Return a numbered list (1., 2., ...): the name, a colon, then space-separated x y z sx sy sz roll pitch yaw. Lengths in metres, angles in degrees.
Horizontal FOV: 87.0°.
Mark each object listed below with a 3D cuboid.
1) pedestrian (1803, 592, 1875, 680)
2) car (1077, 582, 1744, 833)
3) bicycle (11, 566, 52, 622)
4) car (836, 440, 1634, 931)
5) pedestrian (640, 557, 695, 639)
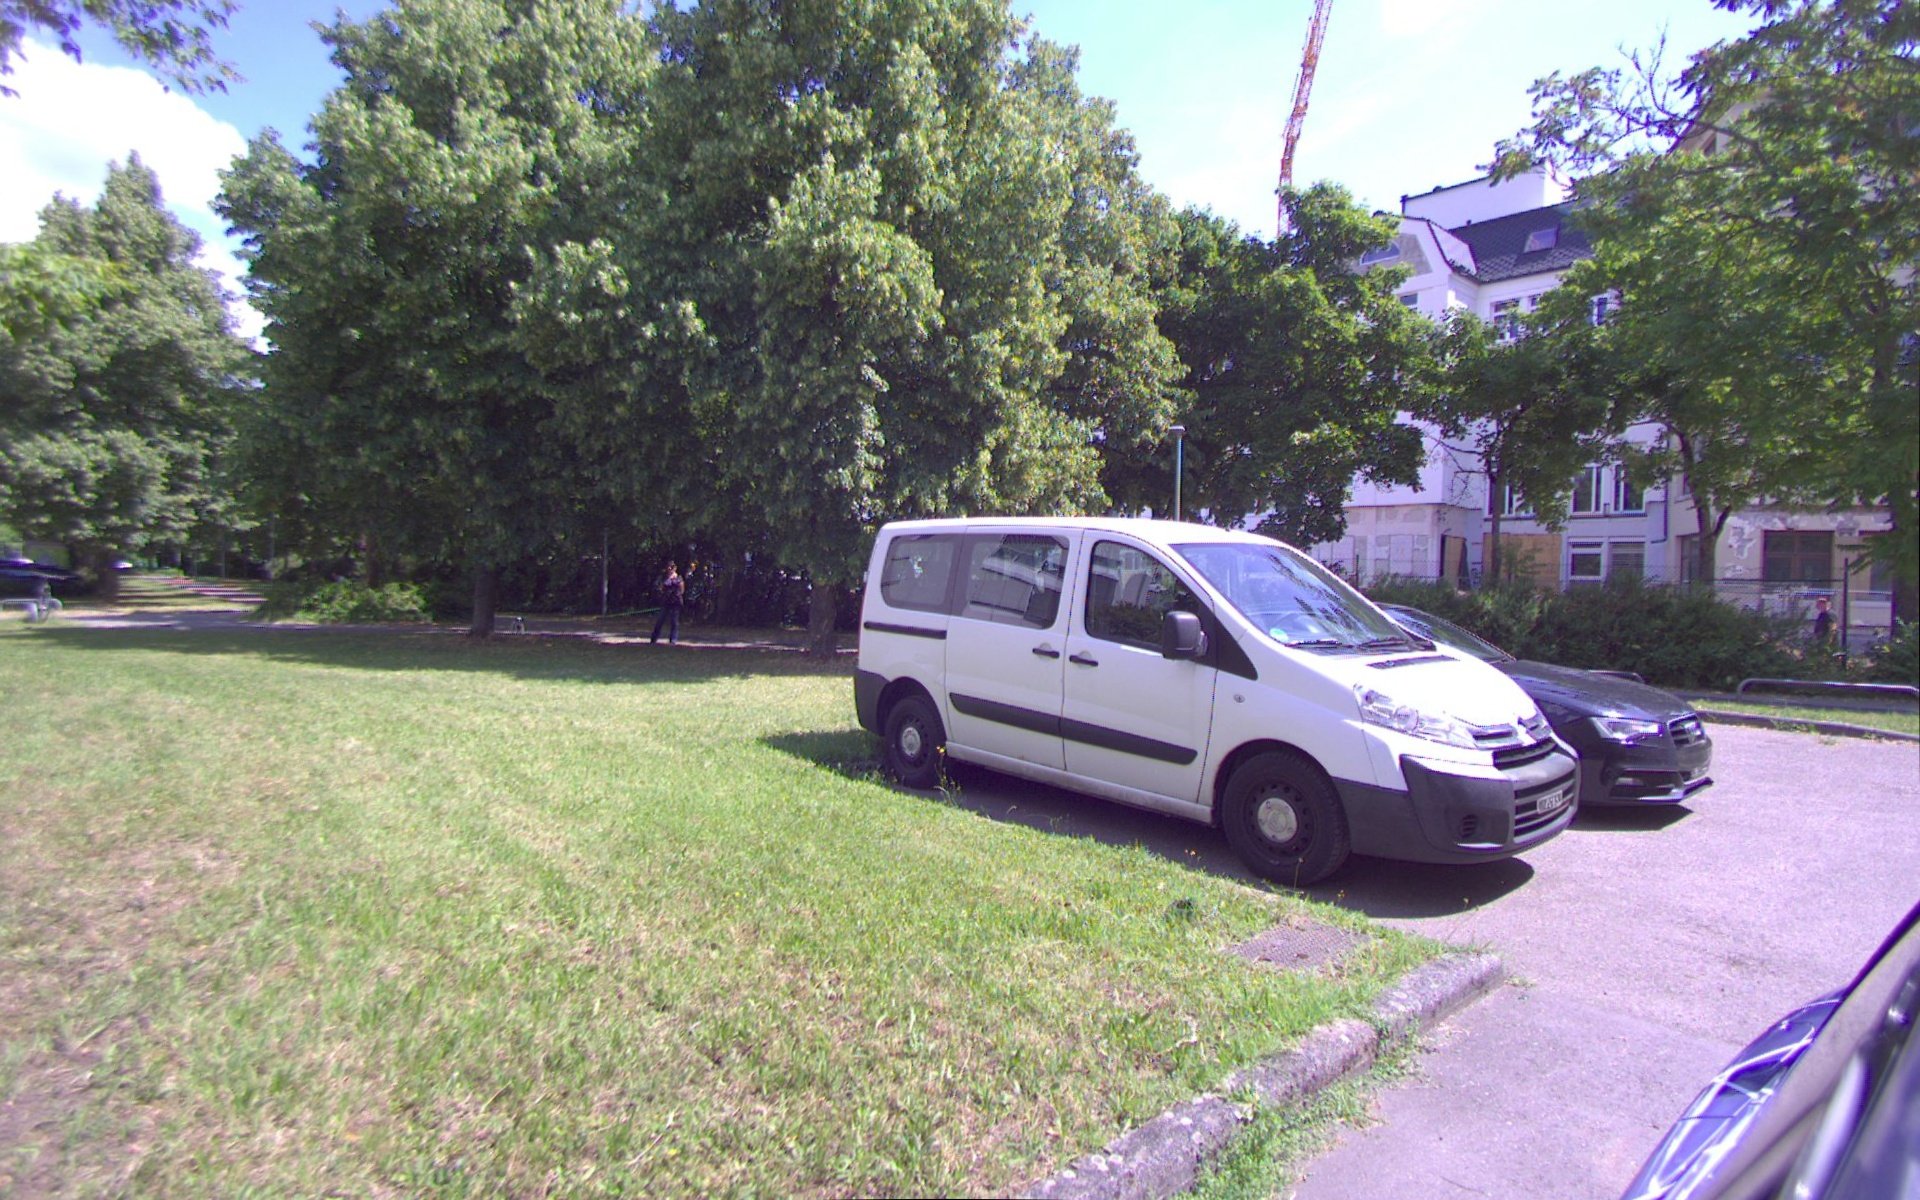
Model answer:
1. pedestrian: 19.196 0.772 22.123 0.959 1.842 0.862 2 0 28
2. car: 3.300 0.614 8.241 1.802 1.369 4.619 2 1 -42
3. bicycle: -19.522 -0.139 21.267 0.591 1.098 1.935 2 1 -43
4. car: 1.355 0.284 6.663 1.965 2.039 4.768 1 1 -41
5. pedestrian: -5.850 -0.048 20.251 0.746 1.584 0.731 2 0 37
